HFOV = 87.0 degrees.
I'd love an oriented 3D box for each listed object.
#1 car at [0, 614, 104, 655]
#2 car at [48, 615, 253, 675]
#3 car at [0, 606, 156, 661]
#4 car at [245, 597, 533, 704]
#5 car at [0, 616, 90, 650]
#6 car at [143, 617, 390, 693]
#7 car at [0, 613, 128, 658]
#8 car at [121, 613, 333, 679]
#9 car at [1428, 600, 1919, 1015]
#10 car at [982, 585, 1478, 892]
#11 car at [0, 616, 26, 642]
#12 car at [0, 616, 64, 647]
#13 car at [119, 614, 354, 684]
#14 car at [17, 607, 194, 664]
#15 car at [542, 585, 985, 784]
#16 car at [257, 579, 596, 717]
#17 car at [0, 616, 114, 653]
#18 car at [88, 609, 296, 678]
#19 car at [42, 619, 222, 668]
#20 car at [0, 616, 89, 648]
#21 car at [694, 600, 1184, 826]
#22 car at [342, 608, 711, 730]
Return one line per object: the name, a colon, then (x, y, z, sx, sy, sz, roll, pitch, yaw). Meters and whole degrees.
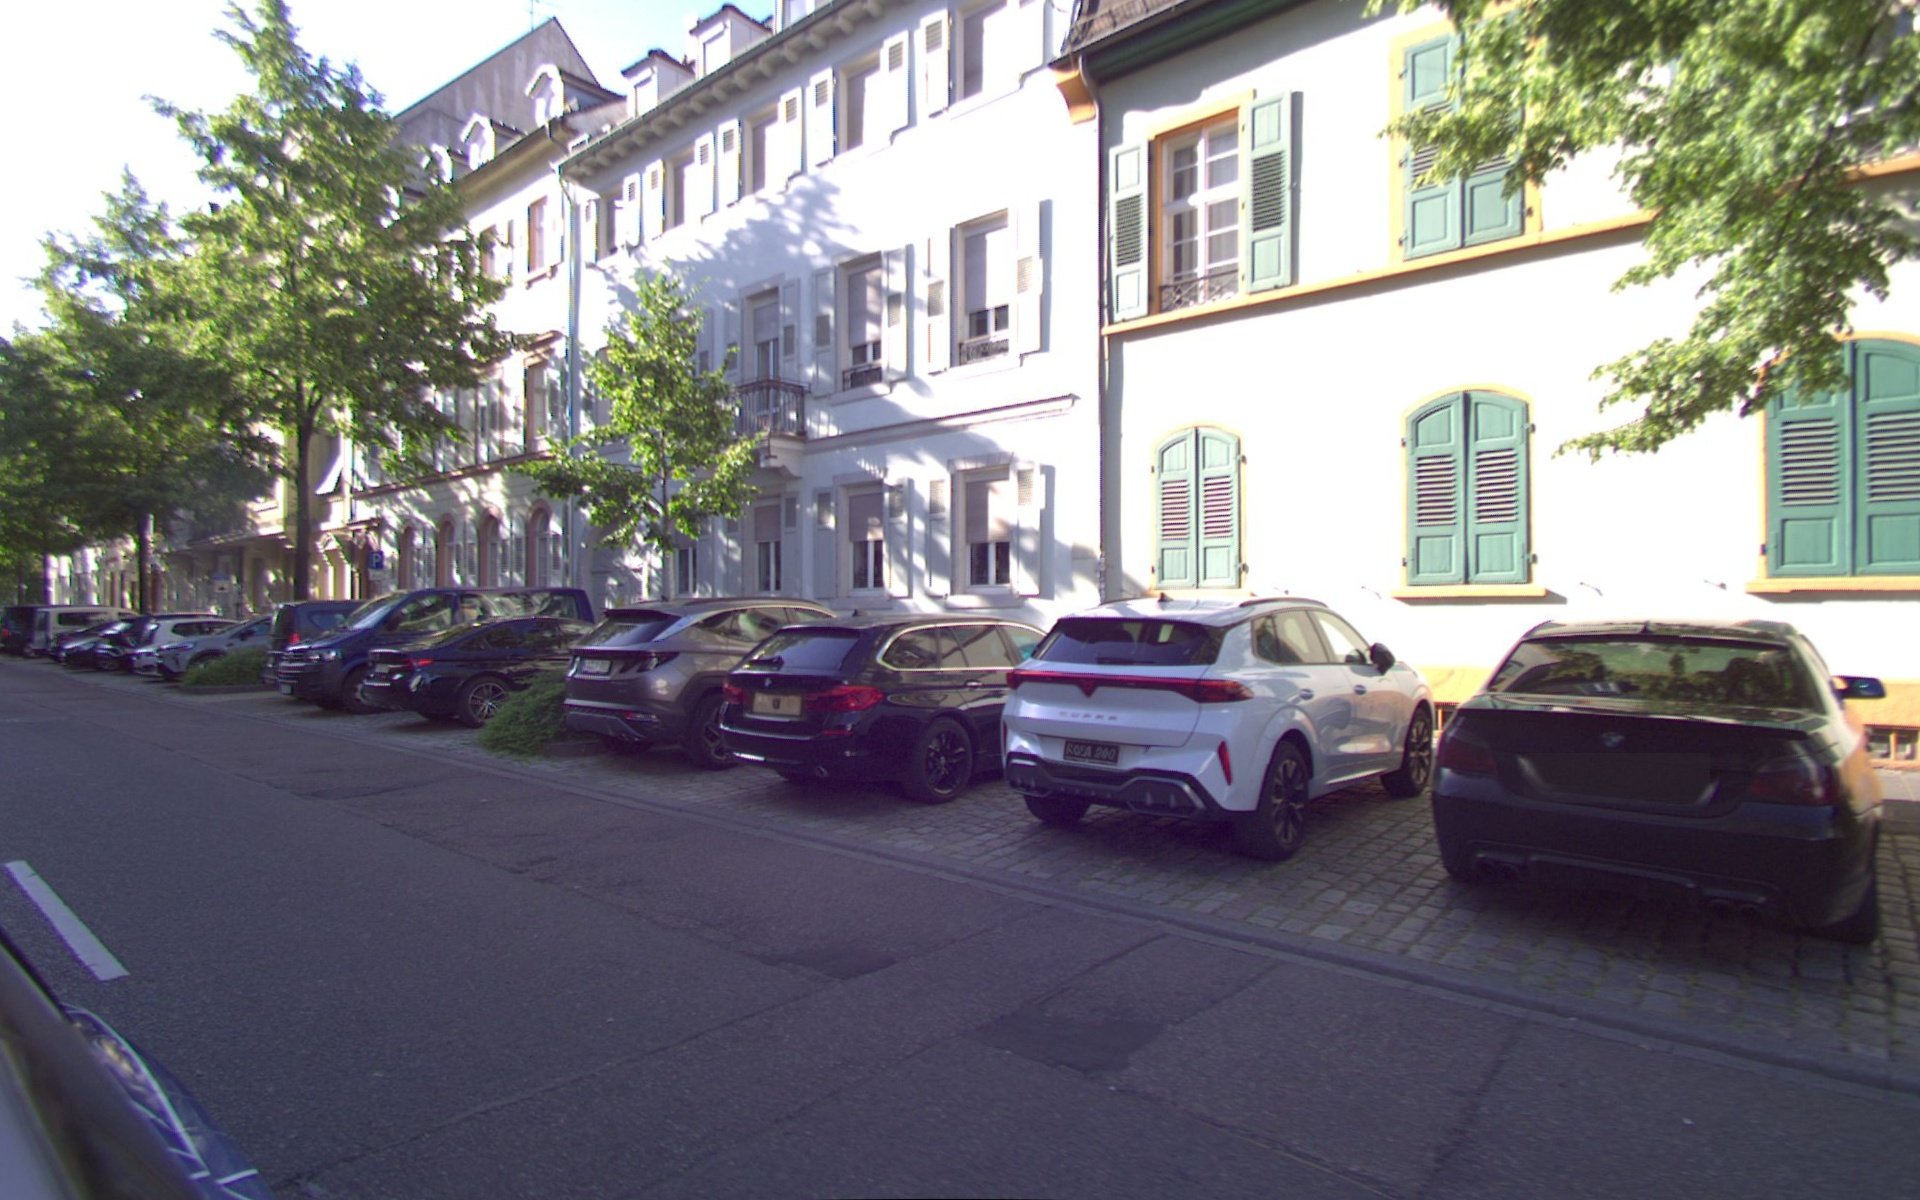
car: (-42.722, 1.565, 46.890, 1.925, 1.838, 4.303, -1, -1, 34)
car: (-23.393, 1.241, 29.369, 1.916, 1.552, 4.418, -1, -1, 42)
car: (-33.237, 1.208, 38.045, 1.930, 1.941, 4.523, -1, -1, 43)
car: (-10.743, 0.865, 19.293, 1.916, 1.785, 4.418, -1, -1, 42)
car: (-44.731, 1.548, 48.420, 1.957, 1.556, 4.308, -1, -1, 31)
car: (-15.880, 1.182, 23.342, 1.917, 1.552, 4.416, -1, -1, 44)
car: (-37.221, 1.416, 41.666, 1.914, 1.746, 4.297, -1, -1, 38)
car: (-19.440, 1.164, 27.006, 1.808, 1.594, 4.295, -1, -1, 40)
car: (4.402, 0.756, 5.836, 1.808, 1.474, 4.630, -1, -1, 42)
car: (2.312, 0.733, 7.592, 1.807, 1.584, 4.633, -1, -1, 40)
car: (-59.568, 1.794, 61.300, 1.944, 1.556, 4.292, -1, -1, 42)
car: (-50.045, 1.653, 52.790, 1.996, 1.503, 4.658, 0, 1, 36)
car: (-17.858, 1.150, 25.160, 1.915, 1.552, 4.421, -1, -1, 40)
car: (-29.418, 1.170, 34.995, 1.909, 1.848, 4.308, -1, -1, 31)
car: (-1.917, 0.753, 11.108, 1.808, 1.725, 4.630, -1, -1, 42)
car: (-8.694, 0.710, 16.821, 1.916, 1.965, 4.630, -1, -1, 42)
car: (-40.808, 1.510, 45.192, 1.913, 1.556, 4.301, -1, -1, 36)
car: (-21.214, 1.137, 28.094, 1.915, 1.722, 4.295, -1, -1, 40)
car: (-27.157, 1.372, 33.310, 1.914, 1.450, 4.297, -1, -1, 39)
car: (-47.836, 1.647, 51.799, 1.998, 1.503, 4.653, -2, -1, 39)
car: (0.076, 0.787, 9.217, 1.808, 1.531, 4.630, -1, -1, 42)
car: (-6.009, 0.857, 14.515, 1.683, 1.470, 4.596, -1, -1, 42)
